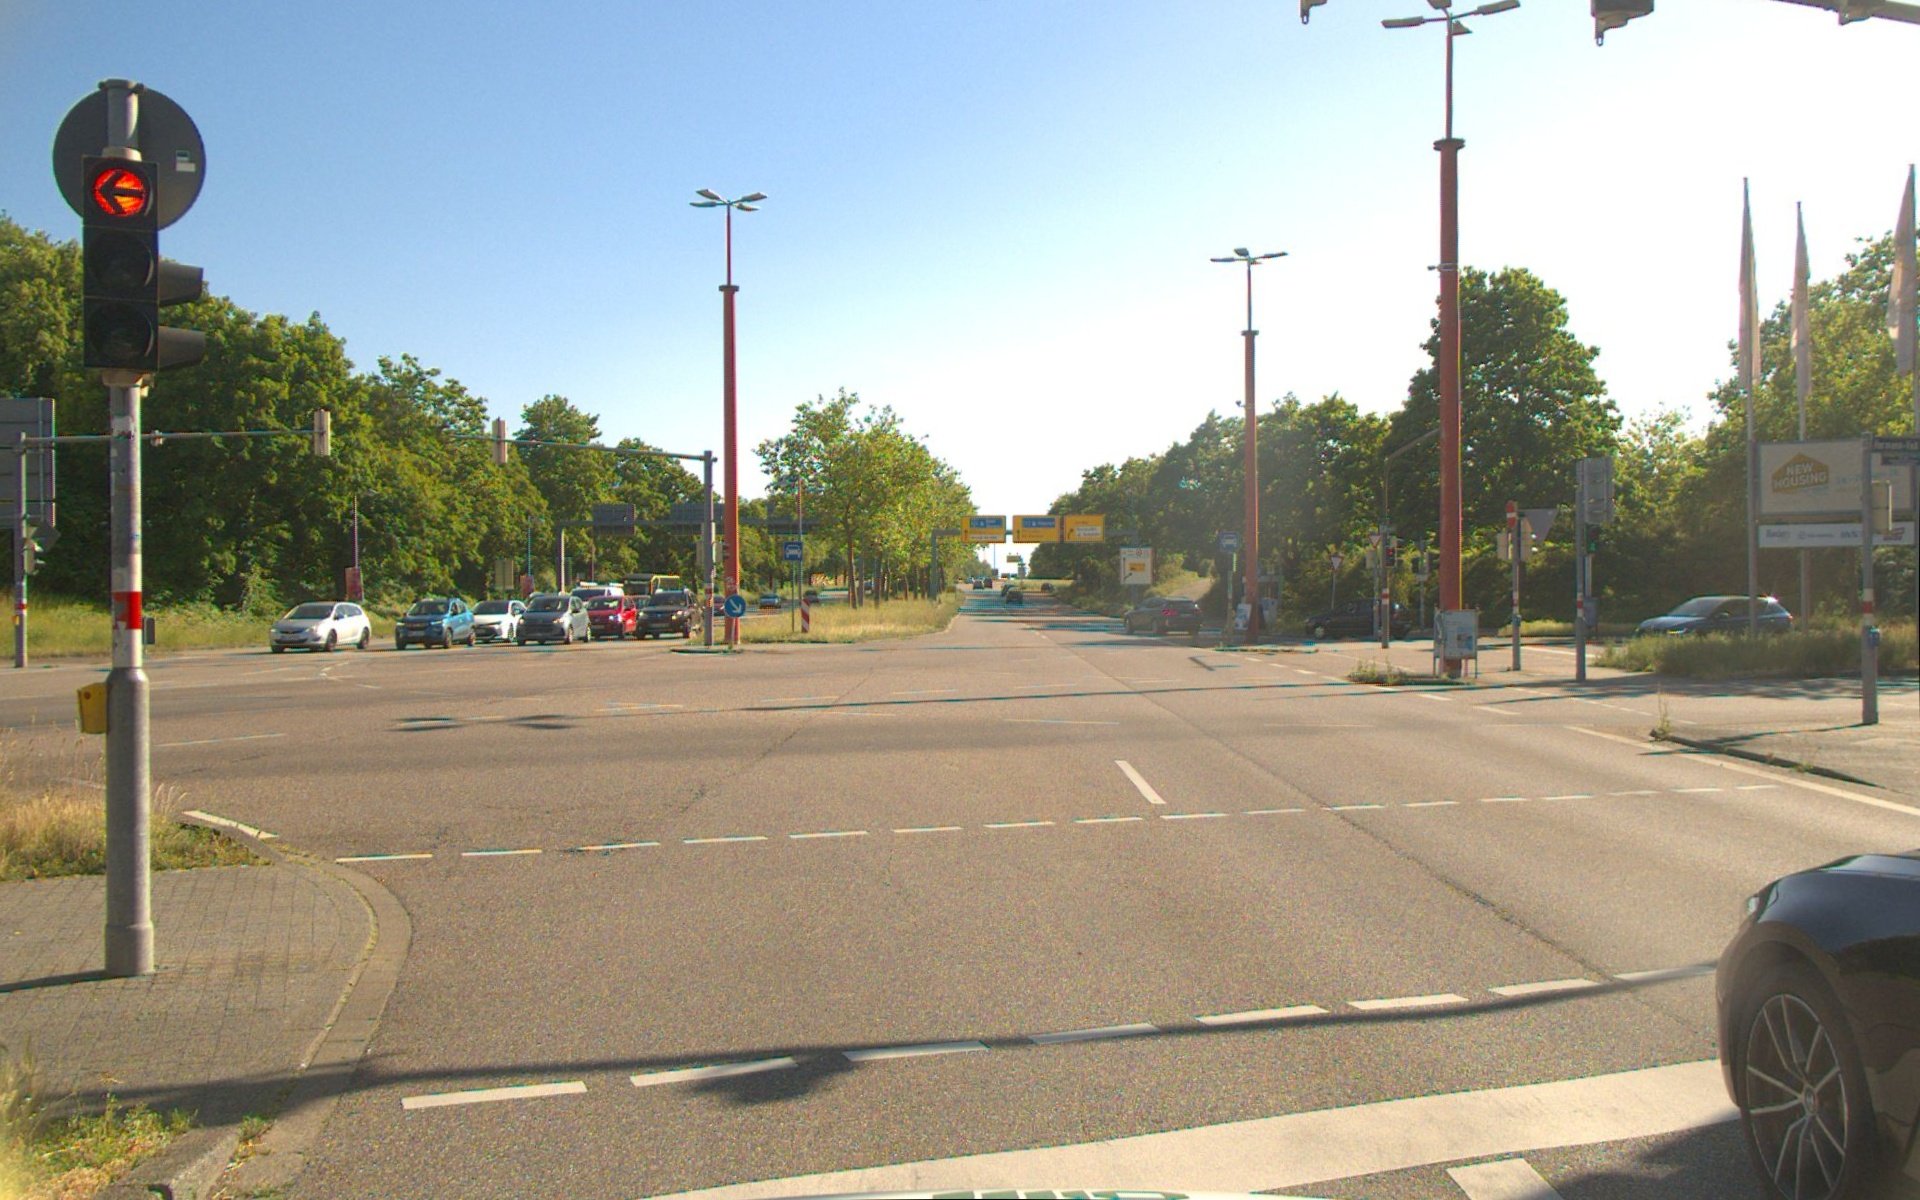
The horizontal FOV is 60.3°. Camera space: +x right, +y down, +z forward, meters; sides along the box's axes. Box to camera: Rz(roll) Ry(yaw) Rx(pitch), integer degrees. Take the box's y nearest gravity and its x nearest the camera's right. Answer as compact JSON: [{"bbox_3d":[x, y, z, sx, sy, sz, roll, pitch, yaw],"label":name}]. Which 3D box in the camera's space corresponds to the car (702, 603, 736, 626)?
[{"bbox_3d":[-16.237,0.964,111.473,1.784,1.480,3.656,0,0,0],"label":"car"}]

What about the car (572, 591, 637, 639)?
[{"bbox_3d":[-12.478,0.503,58.272,1.956,1.601,4.113,0,0,-8],"label":"car"}]

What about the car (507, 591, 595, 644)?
[{"bbox_3d":[-12.804,0.517,51.965,1.954,1.601,4.118,0,0,-4],"label":"car"}]

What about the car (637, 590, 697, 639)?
[{"bbox_3d":[-9.873,0.467,55.992,1.841,1.601,4.113,0,0,-8],"label":"car"}]

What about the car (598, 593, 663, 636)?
[{"bbox_3d":[-12.710,0.523,64.047,1.954,1.601,4.117,0,0,-4],"label":"car"}]

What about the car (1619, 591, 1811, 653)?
[{"bbox_3d":[18.639,0.526,40.860,4.201,1.453,1.874,0,0,-19],"label":"car"}]

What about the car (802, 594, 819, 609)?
[{"bbox_3d":[-16.674,0.148,184.269,1.840,1.601,4.116,0,0,-5],"label":"car"}]

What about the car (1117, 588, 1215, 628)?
[{"bbox_3d":[8.494,0.308,68.752,2.129,1.601,4.552,0,0,-22],"label":"car"}]

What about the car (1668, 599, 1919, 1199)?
[{"bbox_3d":[2.973,0.711,2.361,1.953,1.419,4.476,0,0,-1],"label":"car"}]

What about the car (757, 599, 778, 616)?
[{"bbox_3d":[-18.255,0.697,157.104,1.840,1.601,3.943,0,0,-5],"label":"car"}]

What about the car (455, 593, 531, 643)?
[{"bbox_3d":[-15.990,0.593,56.785,1.956,1.601,4.113,-1,0,-8],"label":"car"}]

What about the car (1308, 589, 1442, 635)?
[{"bbox_3d":[14.870,0.413,59.302,4.191,1.601,2.160,0,0,33],"label":"car"}]

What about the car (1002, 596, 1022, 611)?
[{"bbox_3d":[5.587,0.348,177.326,2.114,1.601,4.281,0,0,1],"label":"car"}]

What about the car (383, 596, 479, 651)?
[{"bbox_3d":[-16.207,0.678,50.891,1.955,1.601,4.116,0,0,-5],"label":"car"}]

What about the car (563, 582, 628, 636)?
[{"bbox_3d":[-15.671,0.382,71.265,2.021,2.231,4.376,0,0,-3],"label":"car"}]

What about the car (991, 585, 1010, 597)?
[{"bbox_3d":[5.452,-1.220,221.044,2.116,1.601,4.277,0,0,-4],"label":"car"}]

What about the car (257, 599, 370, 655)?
[{"bbox_3d":[-19.586,0.781,50.298,1.954,1.601,4.118,0,0,-3],"label":"car"}]
